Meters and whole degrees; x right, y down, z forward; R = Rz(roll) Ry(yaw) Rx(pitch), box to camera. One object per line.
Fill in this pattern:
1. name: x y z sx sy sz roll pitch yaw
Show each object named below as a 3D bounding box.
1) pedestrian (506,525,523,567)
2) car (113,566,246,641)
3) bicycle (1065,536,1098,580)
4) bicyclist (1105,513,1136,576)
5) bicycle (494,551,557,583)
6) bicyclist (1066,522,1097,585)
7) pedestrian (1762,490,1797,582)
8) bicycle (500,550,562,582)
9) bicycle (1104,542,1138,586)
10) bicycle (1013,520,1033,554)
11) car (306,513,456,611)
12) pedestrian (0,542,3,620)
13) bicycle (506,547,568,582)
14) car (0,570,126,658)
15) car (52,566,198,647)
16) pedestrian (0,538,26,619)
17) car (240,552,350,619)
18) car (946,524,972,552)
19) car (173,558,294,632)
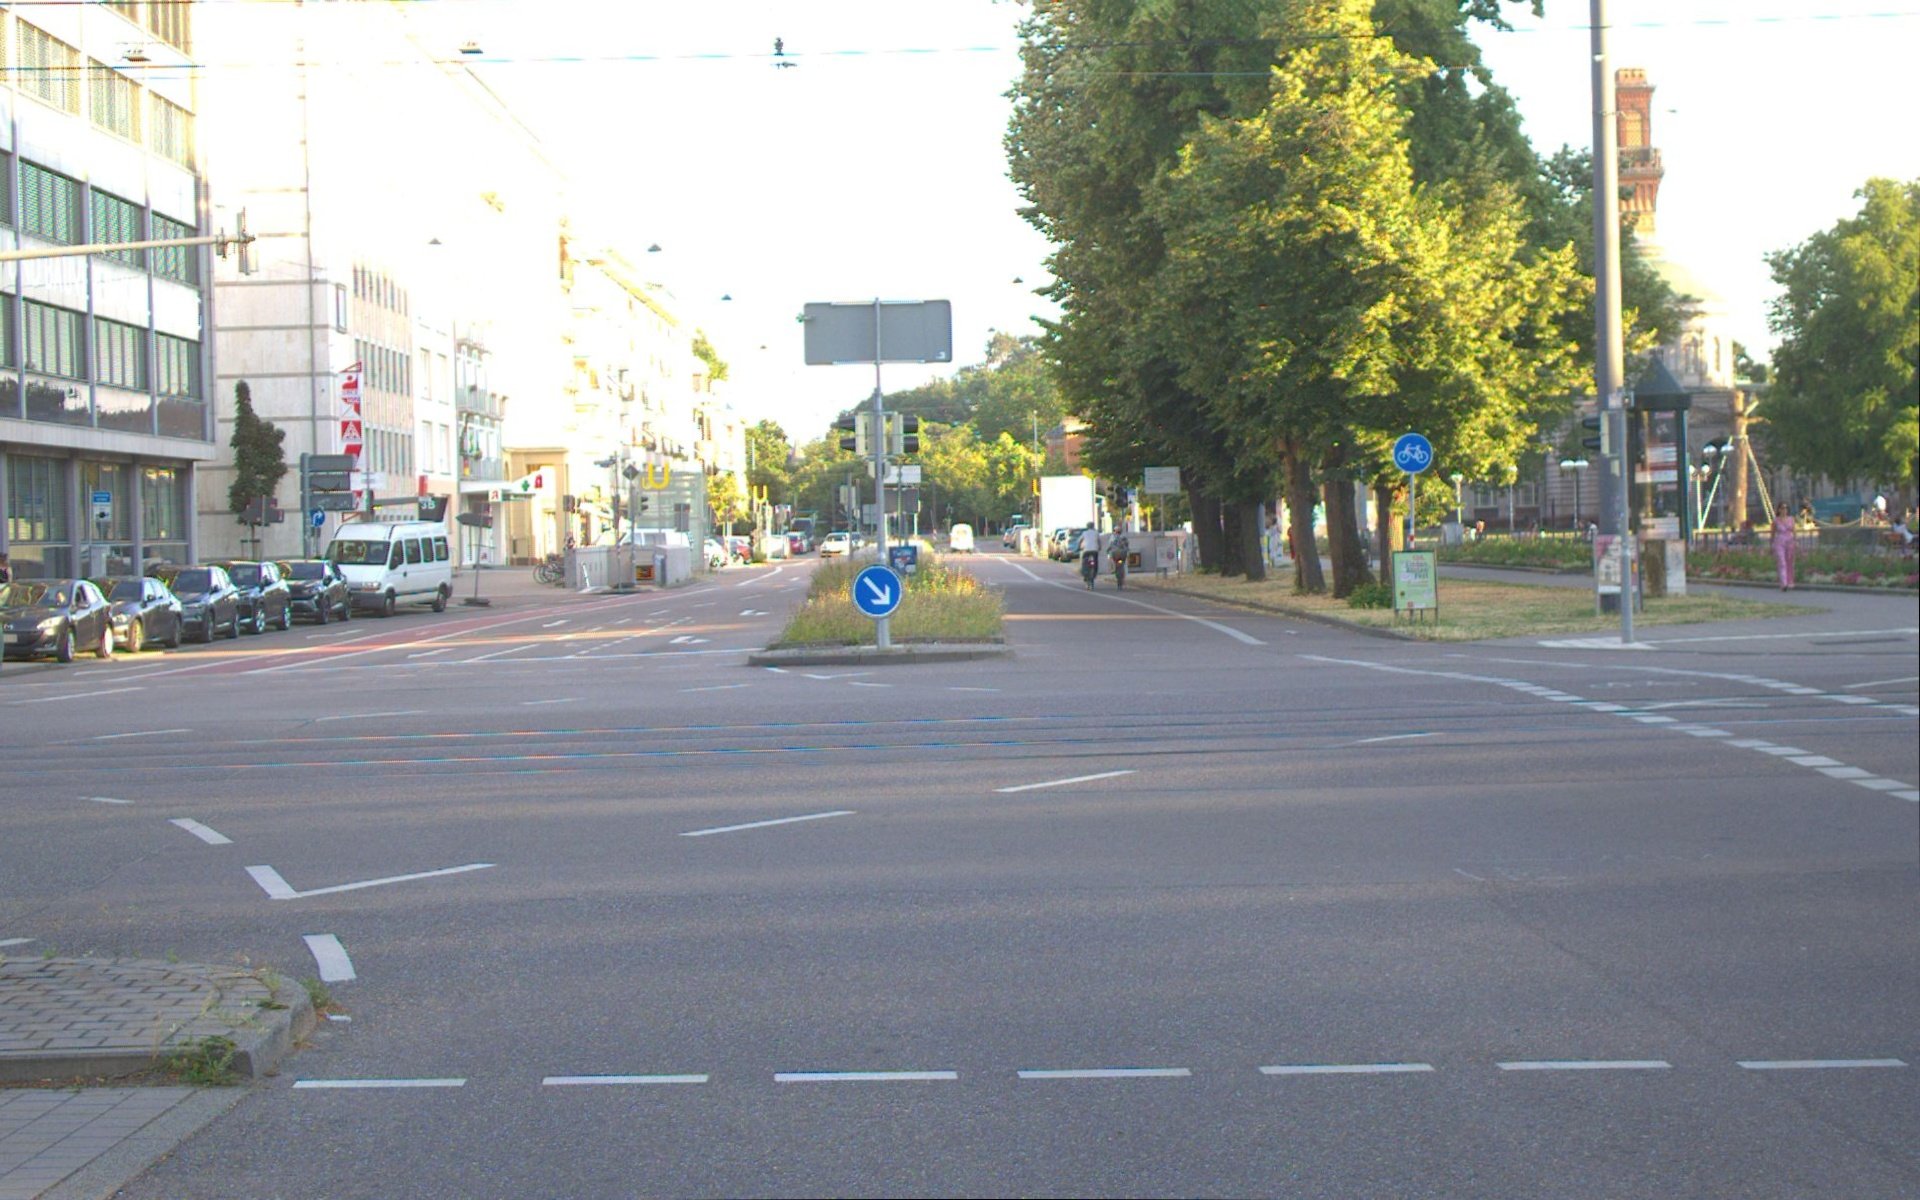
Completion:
1. pedestrian: -21.350 -2.598 164.886 0.680 2.007 0.545 -2 1 0
2. car: -16.586 0.059 73.251 1.920 1.459 4.000 -2 1 -1
3. bicycle: 3.264 -1.136 92.628 0.746 1.140 2.505 -2 1 -1
4. bicyclist: 4.320 -1.493 92.616 0.746 1.685 0.799 -2 1 -1
5. bicycle: -15.851 -1.212 125.501 2.205 1.108 0.619 -2 1 -2
6. bicyclist: 3.259 -1.256 92.347 0.746 1.658 0.873 -2 1 -1
7. pedestrian: 14.868 -1.166 62.381 0.460 1.651 0.567 -1 1 -1
8. bicycle: -15.835 -1.255 126.915 2.205 1.108 0.689 -2 1 -2
9. bicycle: 4.336 -0.990 92.672 0.746 1.140 2.505 -2 1 -1
10. bicycle: 3.805 -3.837 207.722 1.002 2.007 4.000 -1 1 4
11. car: -15.308 -1.047 91.230 2.002 2.469 5.865 -1 1 10
12. pedestrian: -20.662 -0.397 72.956 0.500 1.673 0.500 -2 1 -1
13. bicycle: -15.858 -1.337 128.885 2.205 1.232 0.839 -2 1 -2
14. car: -16.492 0.238 61.941 1.920 1.459 4.103 -2 1 -1
15. car: -16.582 0.107 68.437 1.920 1.459 4.000 -2 1 -1
16. pedestrian: -20.043 -0.452 72.388 0.551 1.673 0.500 -2 1 -1
17. car: -16.367 -0.377 84.779 1.920 1.563 4.000 -2 1 -1
18. car: -0.077 -3.776 208.931 1.408 1.636 4.000 -2 1 -2
19. car: -16.565 -0.144 78.553 1.920 1.563 4.000 -2 1 -1
